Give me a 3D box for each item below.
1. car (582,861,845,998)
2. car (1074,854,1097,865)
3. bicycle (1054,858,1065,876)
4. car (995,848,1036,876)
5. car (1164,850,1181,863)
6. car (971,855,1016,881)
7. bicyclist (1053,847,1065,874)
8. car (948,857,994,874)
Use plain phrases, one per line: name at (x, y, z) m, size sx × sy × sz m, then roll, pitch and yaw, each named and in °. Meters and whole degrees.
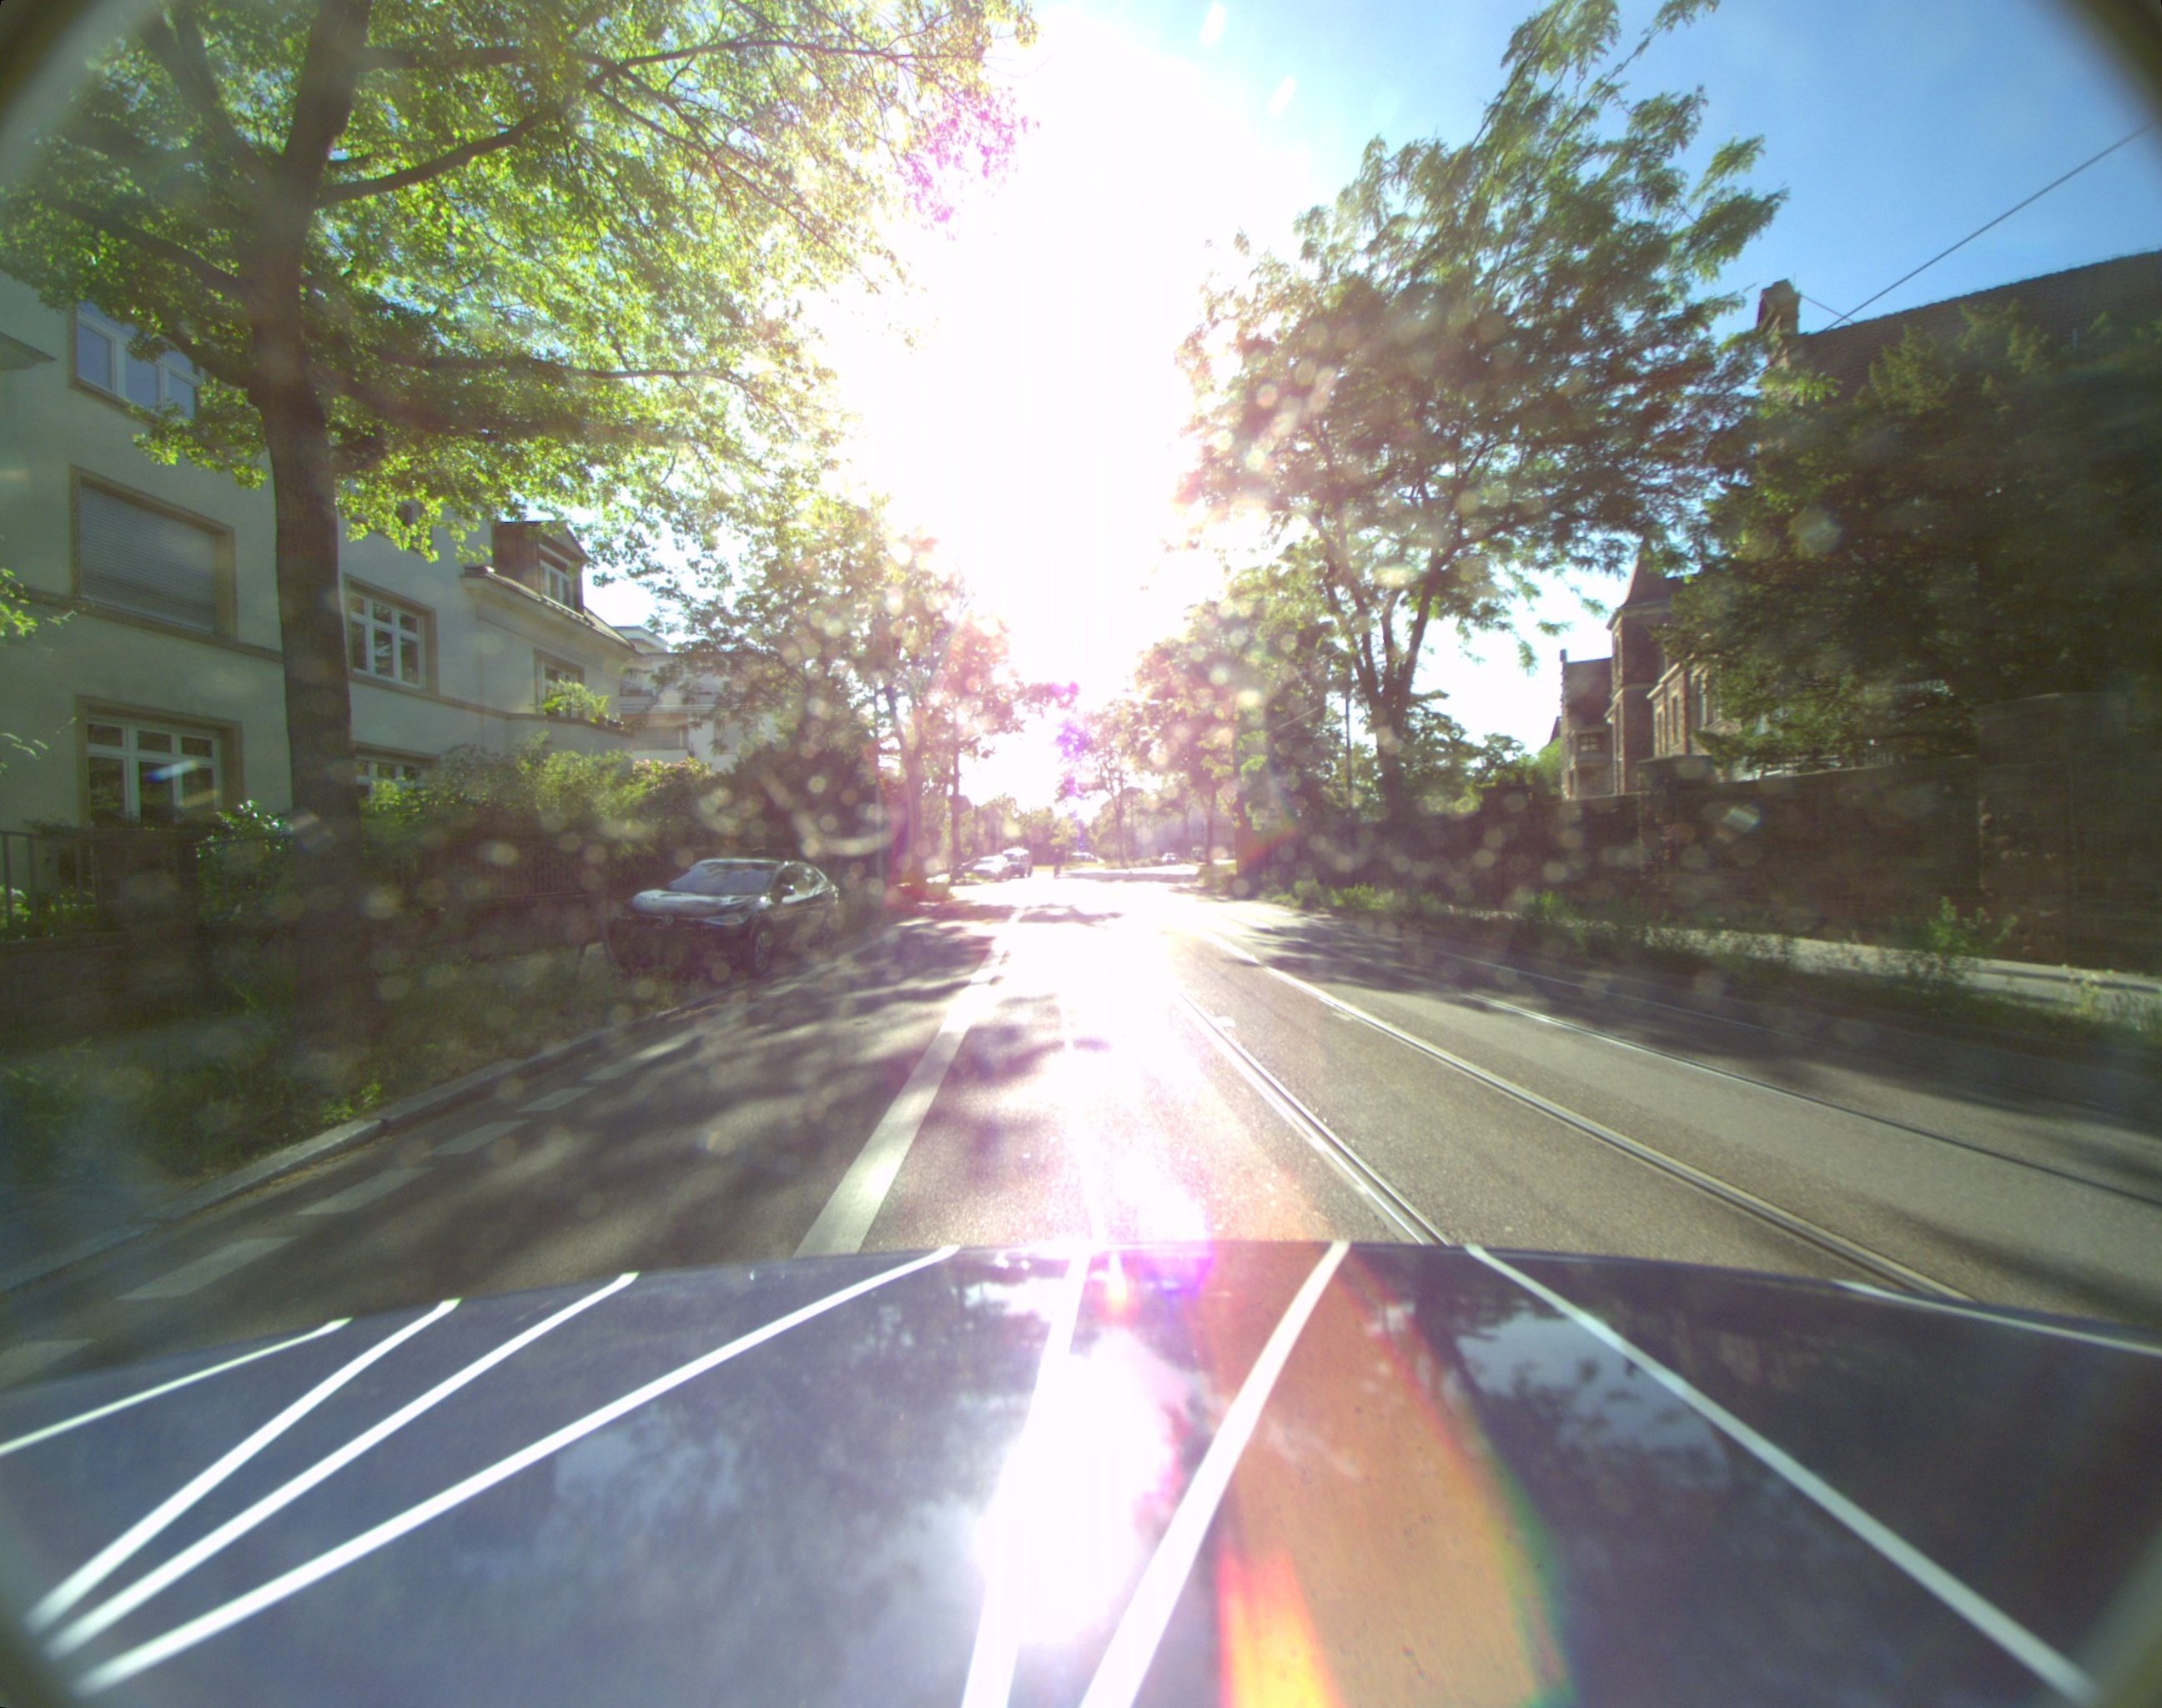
car at (-5.200, 0.951, 11.502) m, size 1.919 × 1.590 × 4.258 m, roll 2°, pitch 0°, yaw -1°
car at (0.746, 0.928, 128.784) m, size 3.908 × 1.683 × 1.905 m, roll -1°, pitch 0°, yaw -1°
bicycle at (-1.369, 0.826, 47.898) m, size 0.588 × 1.105 × 1.855 m, roll -2°, pitch 0°, yaw 1°
car at (-4.406, 0.512, 51.684) m, size 1.900 × 1.775 × 4.670 m, roll -1°, pitch 0°, yaw 6°
car at (11.909, 0.323, 98.716) m, size 1.997 × 1.539 × 4.002 m, roll -2°, pitch 0°, yaw 8°
car at (-5.168, 0.800, 45.328) m, size 1.901 × 1.402 × 4.260 m, roll -1°, pitch 0°, yaw 4°
bicyclist at (-1.392, 0.403, 47.908) m, size 0.644 × 1.632 × 0.665 m, roll -2°, pitch 1°, yaw 1°
car at (-10.046, 1.053, 69.533) m, size 3.998 × 1.433 × 1.813 m, roll -2°, pitch 0°, yaw -3°
